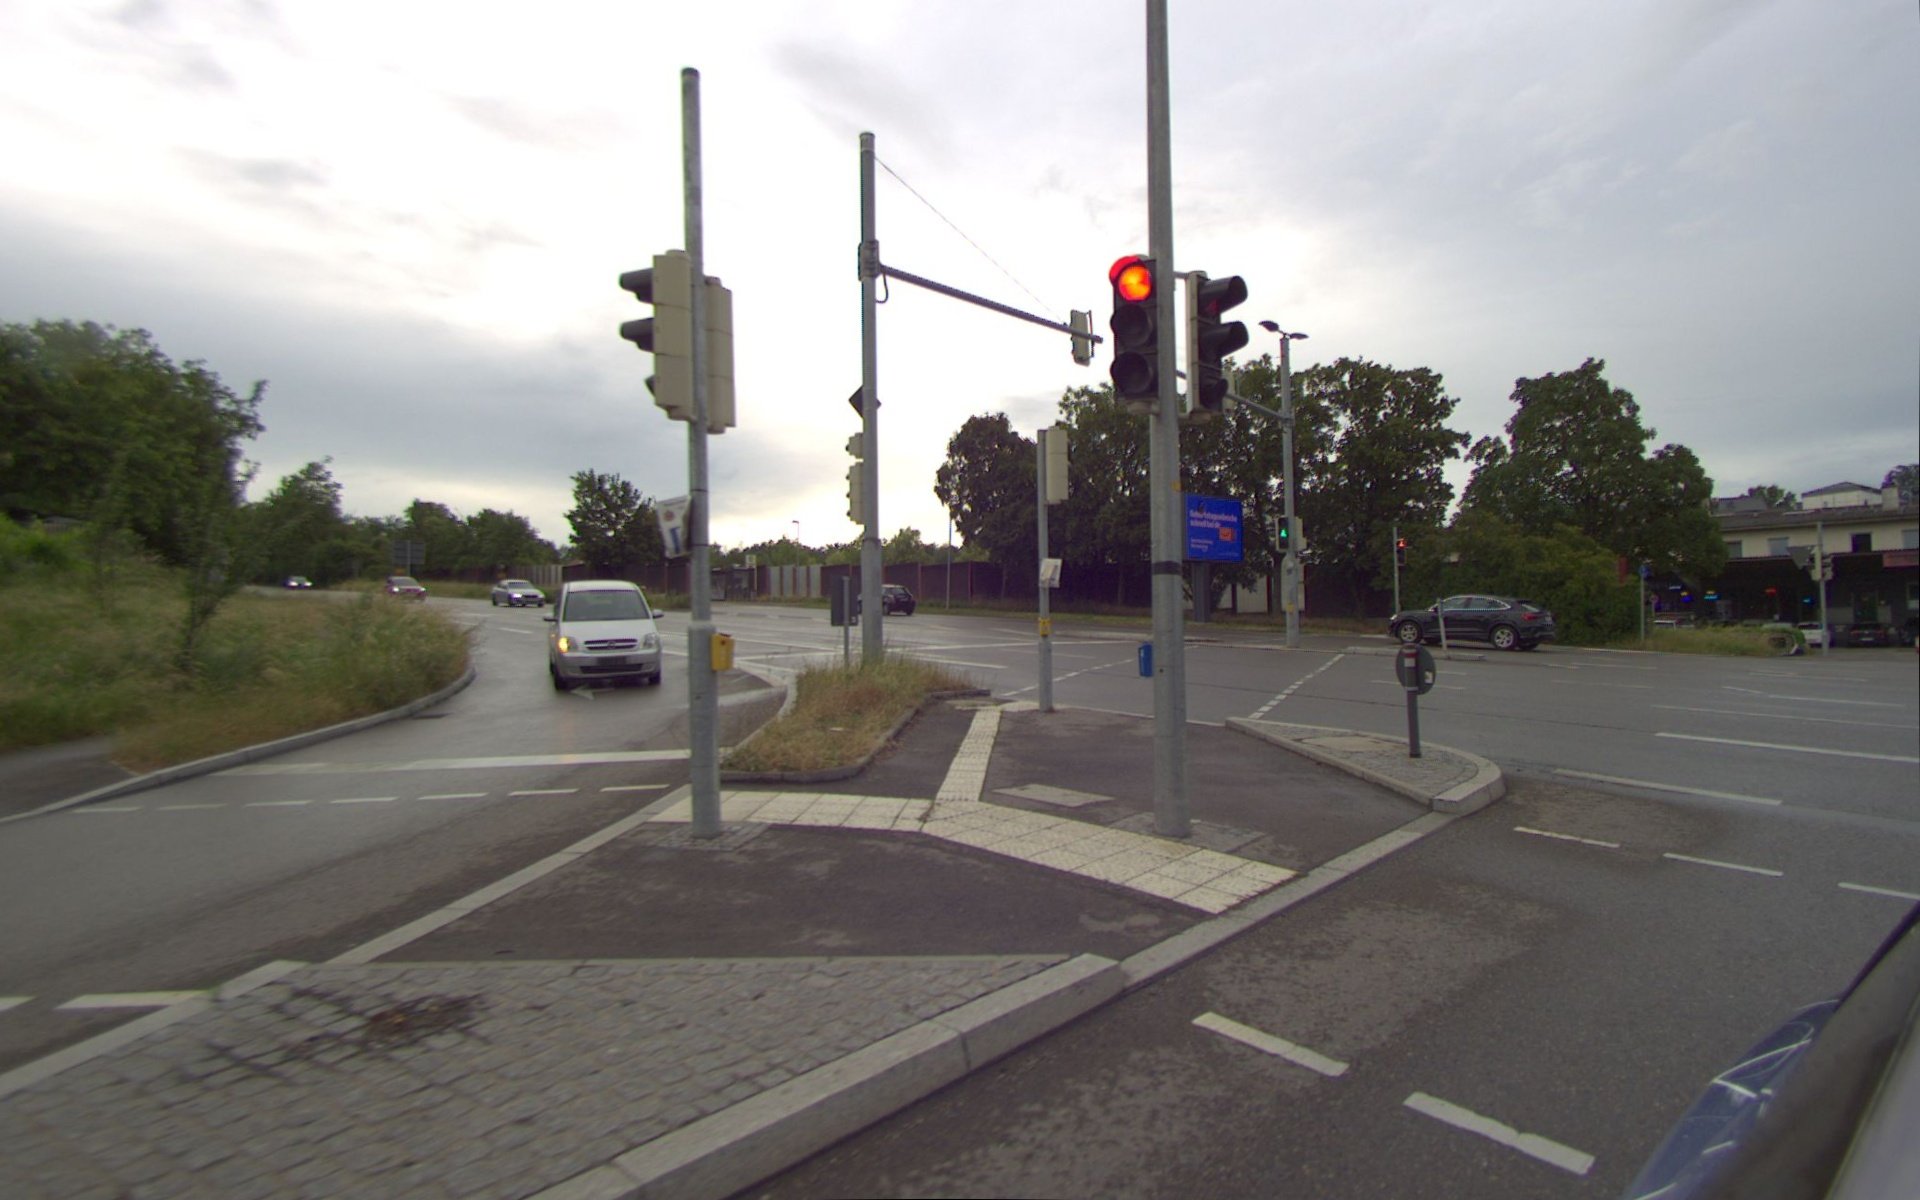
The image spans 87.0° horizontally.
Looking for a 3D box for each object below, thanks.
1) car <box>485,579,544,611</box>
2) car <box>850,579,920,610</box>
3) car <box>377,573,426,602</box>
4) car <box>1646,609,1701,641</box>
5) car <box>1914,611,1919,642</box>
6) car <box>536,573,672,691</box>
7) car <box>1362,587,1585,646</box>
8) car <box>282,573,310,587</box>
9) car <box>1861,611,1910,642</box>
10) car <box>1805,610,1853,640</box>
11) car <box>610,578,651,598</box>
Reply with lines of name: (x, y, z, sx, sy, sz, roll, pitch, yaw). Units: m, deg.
car: (-24.449, -0.276, 55.503, 1.792, 1.695, 3.993, 1, 0, -42)
car: (-3.899, -0.313, 52.312, 1.695, 1.519, 3.821, 1, 0, -40)
car: (-33.800, -0.759, 61.201, 1.791, 1.695, 4.004, 1, 0, -41)
car: (39.936, 1.351, 56.607, 3.932, 1.672, 1.743, 1, 0, -43)
car: (54.084, 1.475, 55.953, 3.932, 1.672, 1.743, 1, 0, -43)
car: (-6.097, 0.404, 17.072, 1.786, 1.624, 4.072, -2, 3, -24)
car: (14.754, 0.428, 29.424, 1.808, 1.519, 5.527, 1, 0, -40)
car: (-70.565, -2.140, 107.564, 1.848, 1.436, 3.991, 1, 0, -44)
car: (52.784, 1.480, 57.698, 3.932, 1.672, 1.743, 1, 0, -43)
car: (51.263, 1.432, 59.691, 3.932, 1.672, 1.743, 1, 0, -43)
car: (-25.460, -0.926, 78.138, 1.695, 1.519, 3.821, 1, 0, -40)
